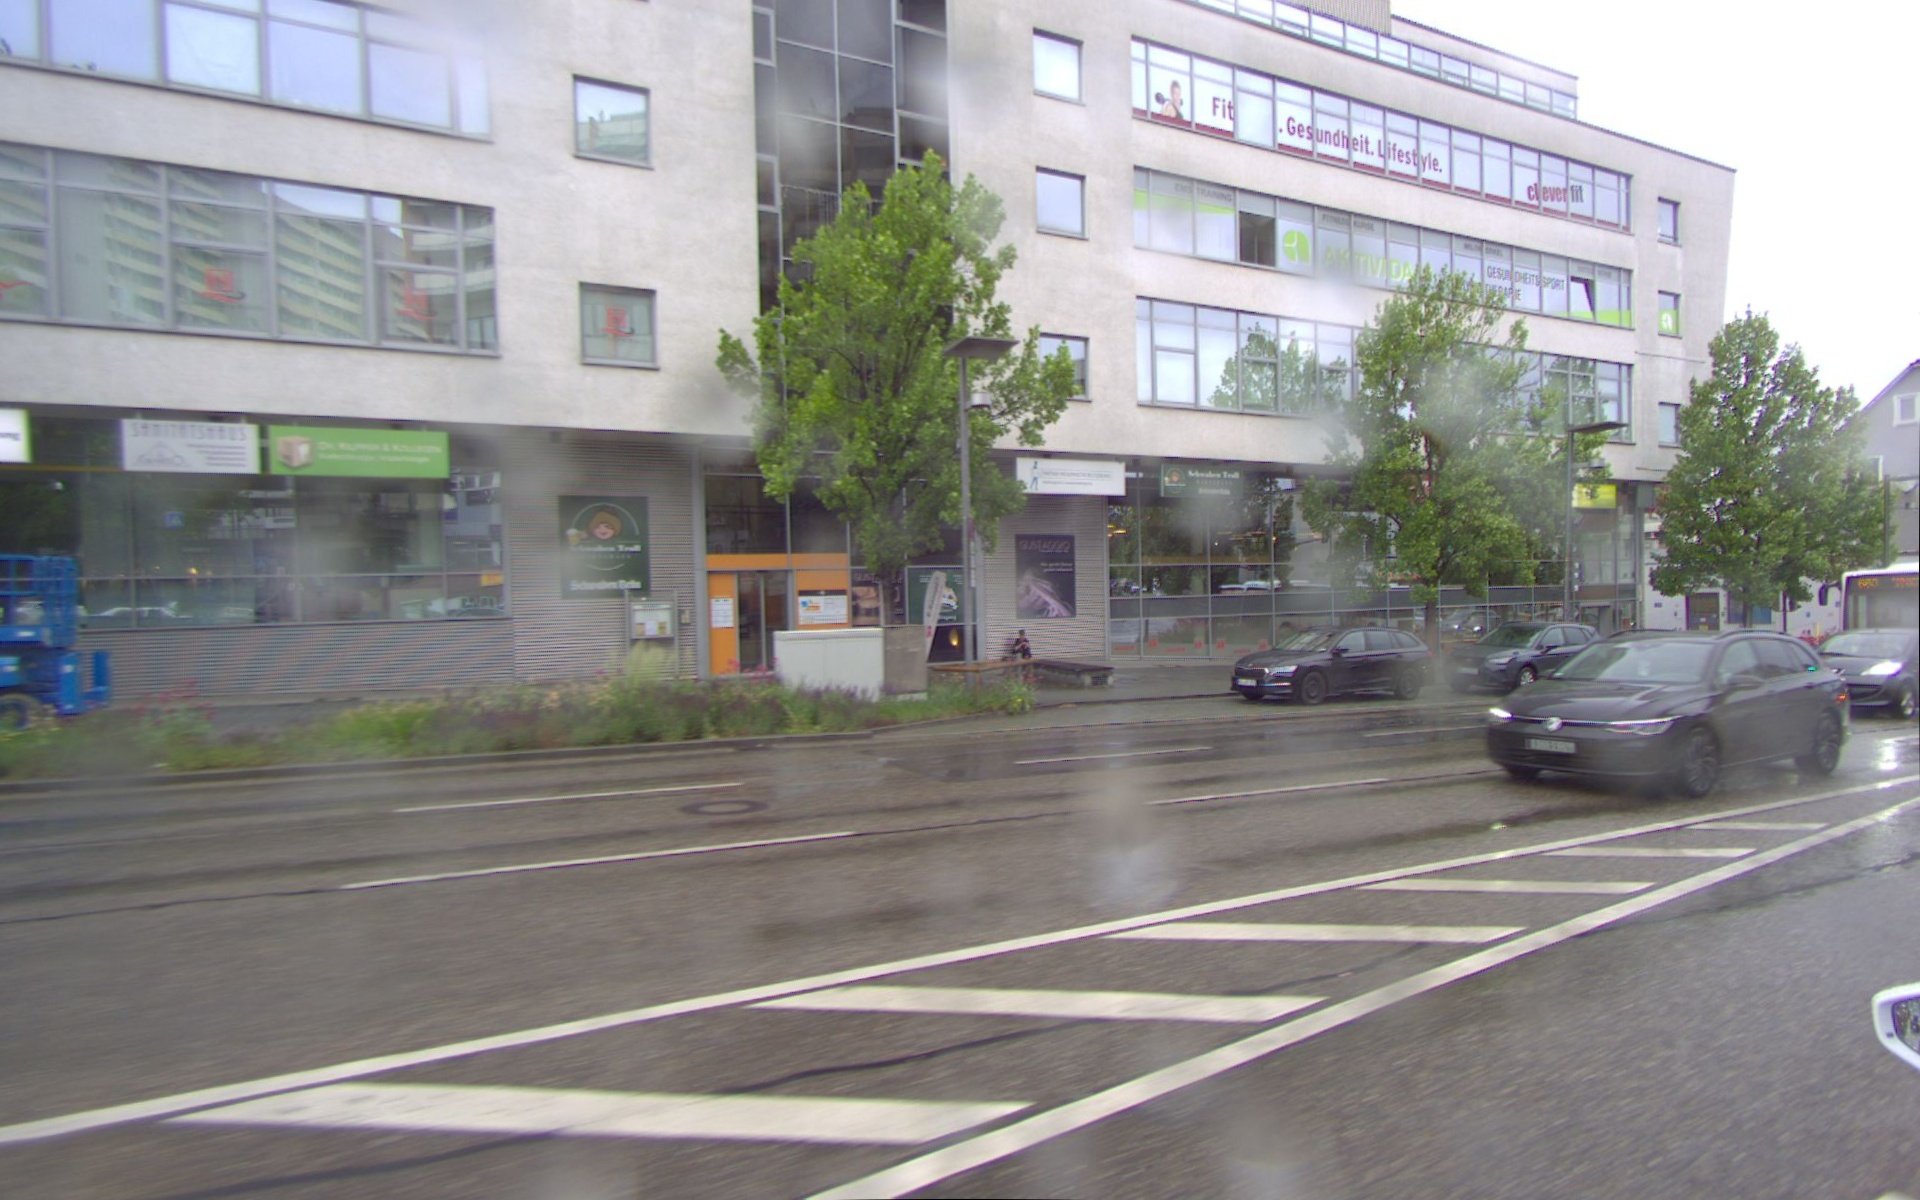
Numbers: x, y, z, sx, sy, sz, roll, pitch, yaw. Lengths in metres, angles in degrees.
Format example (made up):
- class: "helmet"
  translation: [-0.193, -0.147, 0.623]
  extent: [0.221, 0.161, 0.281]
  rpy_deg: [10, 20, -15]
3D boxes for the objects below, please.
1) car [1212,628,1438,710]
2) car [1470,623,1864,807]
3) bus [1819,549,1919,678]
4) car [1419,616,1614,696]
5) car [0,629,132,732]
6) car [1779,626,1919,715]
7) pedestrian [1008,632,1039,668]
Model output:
- class: "car"
  translation: [7.327, 1.303, 20.092]
  extent: [4.421, 1.466, 1.818]
  rpy_deg: [1, -2, -29]
- class: "car"
  translation: [7.319, 1.015, 10.295]
  extent: [4.341, 1.537, 1.698]
  rpy_deg: [1, -2, -31]
- class: "bus"
  translation: [28.397, 0.379, 27.731]
  extent: [11.845, 3.140, 2.882]
  rpy_deg: [0, -2, -28]
- class: "car"
  translation: [12.327, 1.176, 22.241]
  extent: [3.951, 1.617, 1.985]
  rpy_deg: [0, -2, -29]
- class: "car"
  translation: [-14.499, 1.143, 14.420]
  extent: [3.681, 1.429, 1.747]
  rpy_deg: [0, -2, -27]
- class: "car"
  translation: [15.805, 1.147, 17.225]
  extent: [3.240, 1.393, 1.559]
  rpy_deg: [0, -2, -27]
- class: "pedestrian"
  translation: [1.757, 1.372, 27.715]
  extent: [0.678, 0.989, 0.524]
  rpy_deg: [0, -2, -27]
